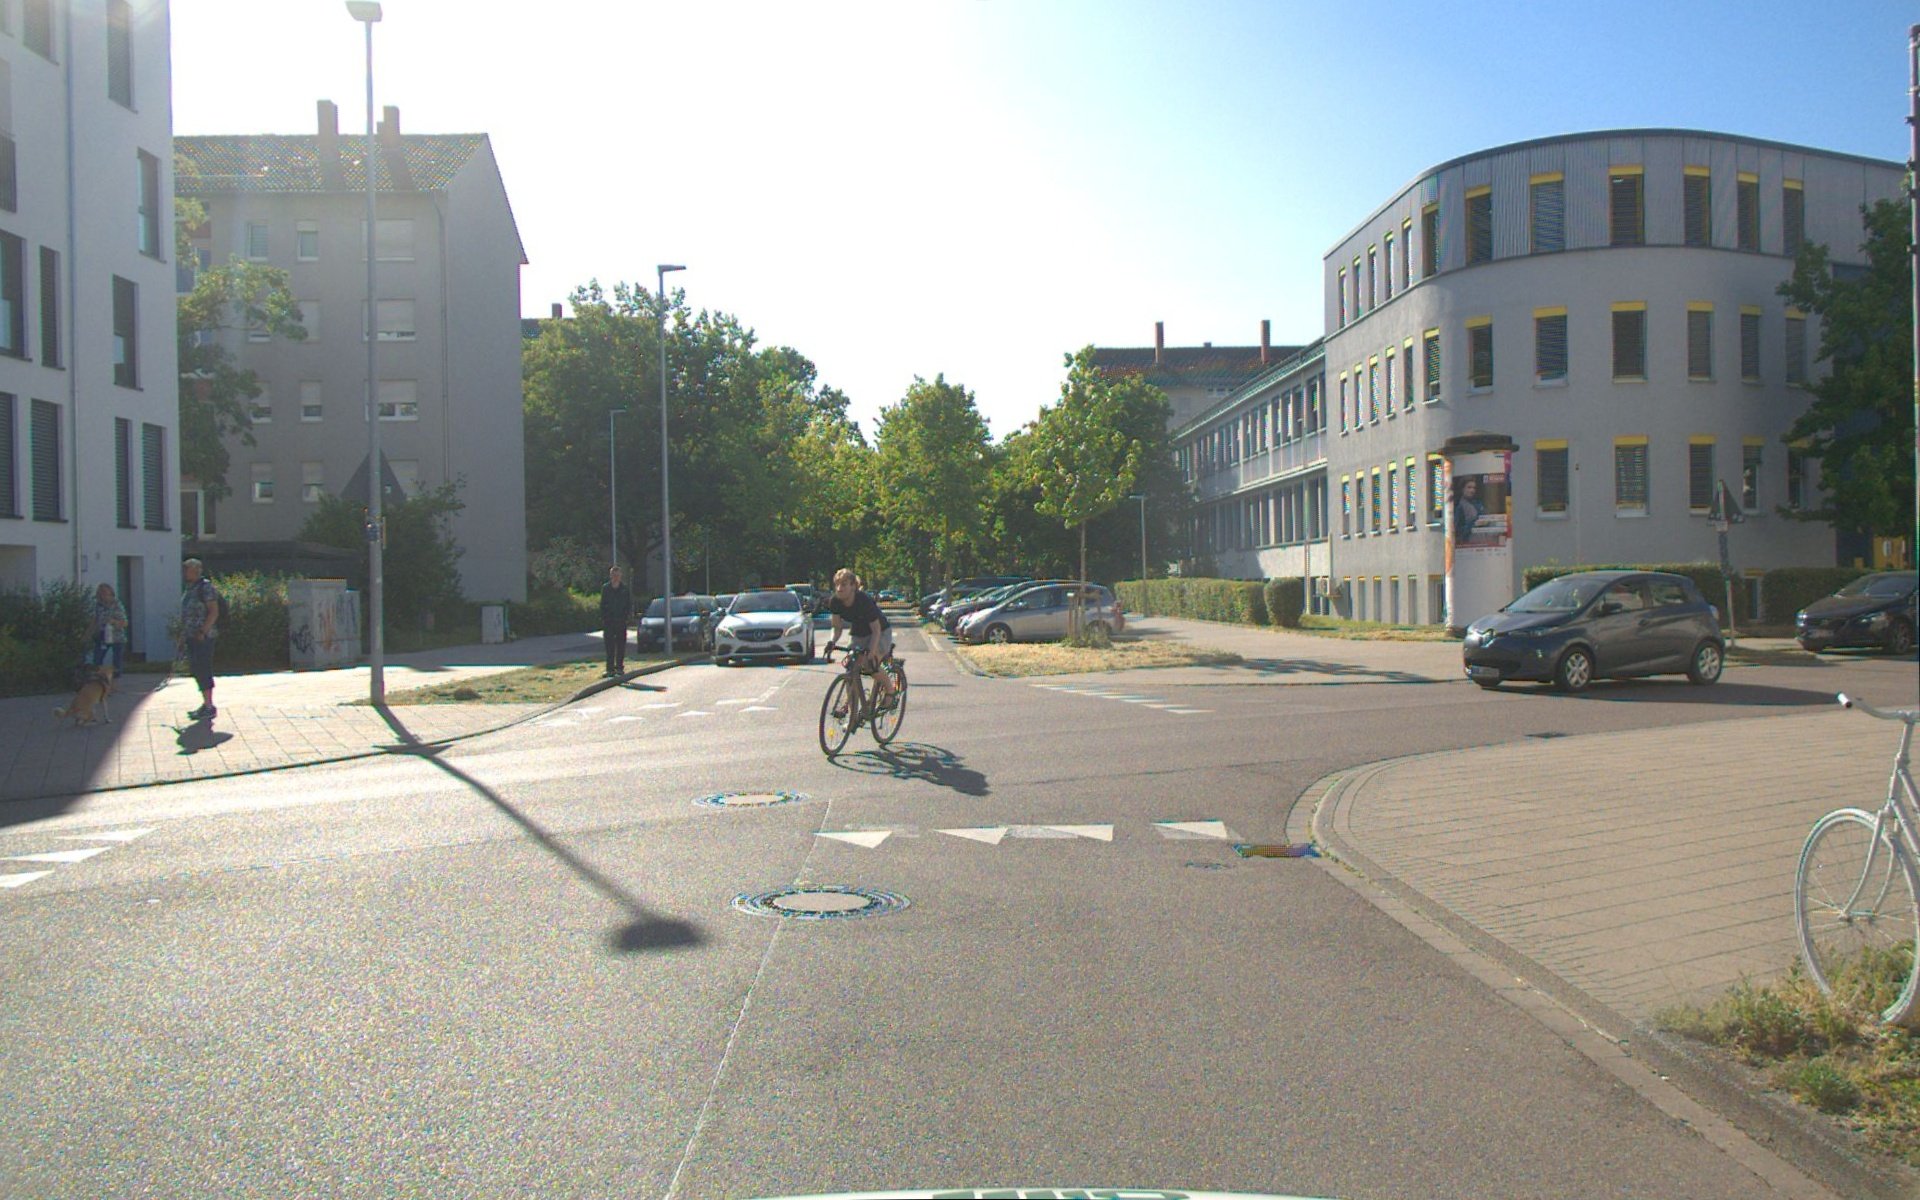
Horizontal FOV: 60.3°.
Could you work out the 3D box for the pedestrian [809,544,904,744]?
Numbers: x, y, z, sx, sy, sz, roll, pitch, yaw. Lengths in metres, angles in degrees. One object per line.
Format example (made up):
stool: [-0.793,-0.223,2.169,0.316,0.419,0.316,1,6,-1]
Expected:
pedestrian: [-0.889,0.371,14.413,0.675,1.669,1.047,1,0,3]

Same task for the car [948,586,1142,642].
car: [2.161,0.356,42.706,4.776,1.296,1.726,-2,0,-6]

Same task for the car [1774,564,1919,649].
car: [17.002,0.067,30.268,4.164,1.435,1.777,-1,1,-30]

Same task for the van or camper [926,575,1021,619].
van or camper: [0.536,-0.135,69.187,3.907,1.803,1.999,0,0,-3]

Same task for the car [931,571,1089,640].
car: [1.353,0.150,45.872,4.195,1.795,1.998,1,0,-5]

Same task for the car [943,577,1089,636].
car: [1.608,0.194,48.704,4.121,1.624,1.998,1,0,-4]

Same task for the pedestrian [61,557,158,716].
pedestrian: [-11.856,0.481,23.058,0.761,2.157,0.953,1,2,41]

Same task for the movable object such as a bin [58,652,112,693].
movable object such as a bin: [-12.482,1.027,23.600,0.266,0.551,0.686,0,0,18]

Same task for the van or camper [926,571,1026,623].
van or camper: [0.615,-0.128,66.430,3.907,2.049,1.999,0,0,-3]

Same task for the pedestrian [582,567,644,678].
pedestrian: [-5.594,0.349,26.706,0.854,1.744,0.978,-1,0,-6]

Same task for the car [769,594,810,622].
car: [-8.889,0.413,86.501,1.805,1.422,3.999,-1,0,-1]

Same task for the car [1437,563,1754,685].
car: [8.659,0.303,22.496,4.076,1.530,1.826,0,0,-28]

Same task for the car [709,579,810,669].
car: [-3.975,0.418,33.258,1.849,1.530,4.634,-1,2,-6]

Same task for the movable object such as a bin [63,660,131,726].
movable object such as a bin: [-9.835,1.048,18.862,0.266,0.691,0.849,-1,1,4]

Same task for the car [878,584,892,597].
car: [-10.360,-1.344,229.454,1.953,1.777,3.998,-1,1,-2]

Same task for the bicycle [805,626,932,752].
bicycle: [-0.782,0.756,14.758,0.537,1.029,1.920,0,0,16]

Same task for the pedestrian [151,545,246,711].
pedestrian: [-9.005,0.333,19.591,0.829,1.918,0.789,1,0,-12]

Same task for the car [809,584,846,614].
car: [-9.629,-0.057,120.046,1.951,2.049,4.002,1,0,6]

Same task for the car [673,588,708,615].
car: [-13.190,0.051,80.925,1.248,1.246,2.663,-1,1,0]

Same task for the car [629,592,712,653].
car: [-7.282,0.542,41.929,1.634,1.445,3.997,1,0,-4]

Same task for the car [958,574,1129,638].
car: [2.018,0.138,40.661,4.009,1.518,1.727,0,0,-5]

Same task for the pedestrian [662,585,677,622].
pedestrian: [-13.670,0.163,77.901,0.622,1.693,0.698,-1,0,-8]

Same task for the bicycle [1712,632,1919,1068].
bicycle: [2.981,0.722,4.792,0.518,1.214,2.028,-1,0,-5]
